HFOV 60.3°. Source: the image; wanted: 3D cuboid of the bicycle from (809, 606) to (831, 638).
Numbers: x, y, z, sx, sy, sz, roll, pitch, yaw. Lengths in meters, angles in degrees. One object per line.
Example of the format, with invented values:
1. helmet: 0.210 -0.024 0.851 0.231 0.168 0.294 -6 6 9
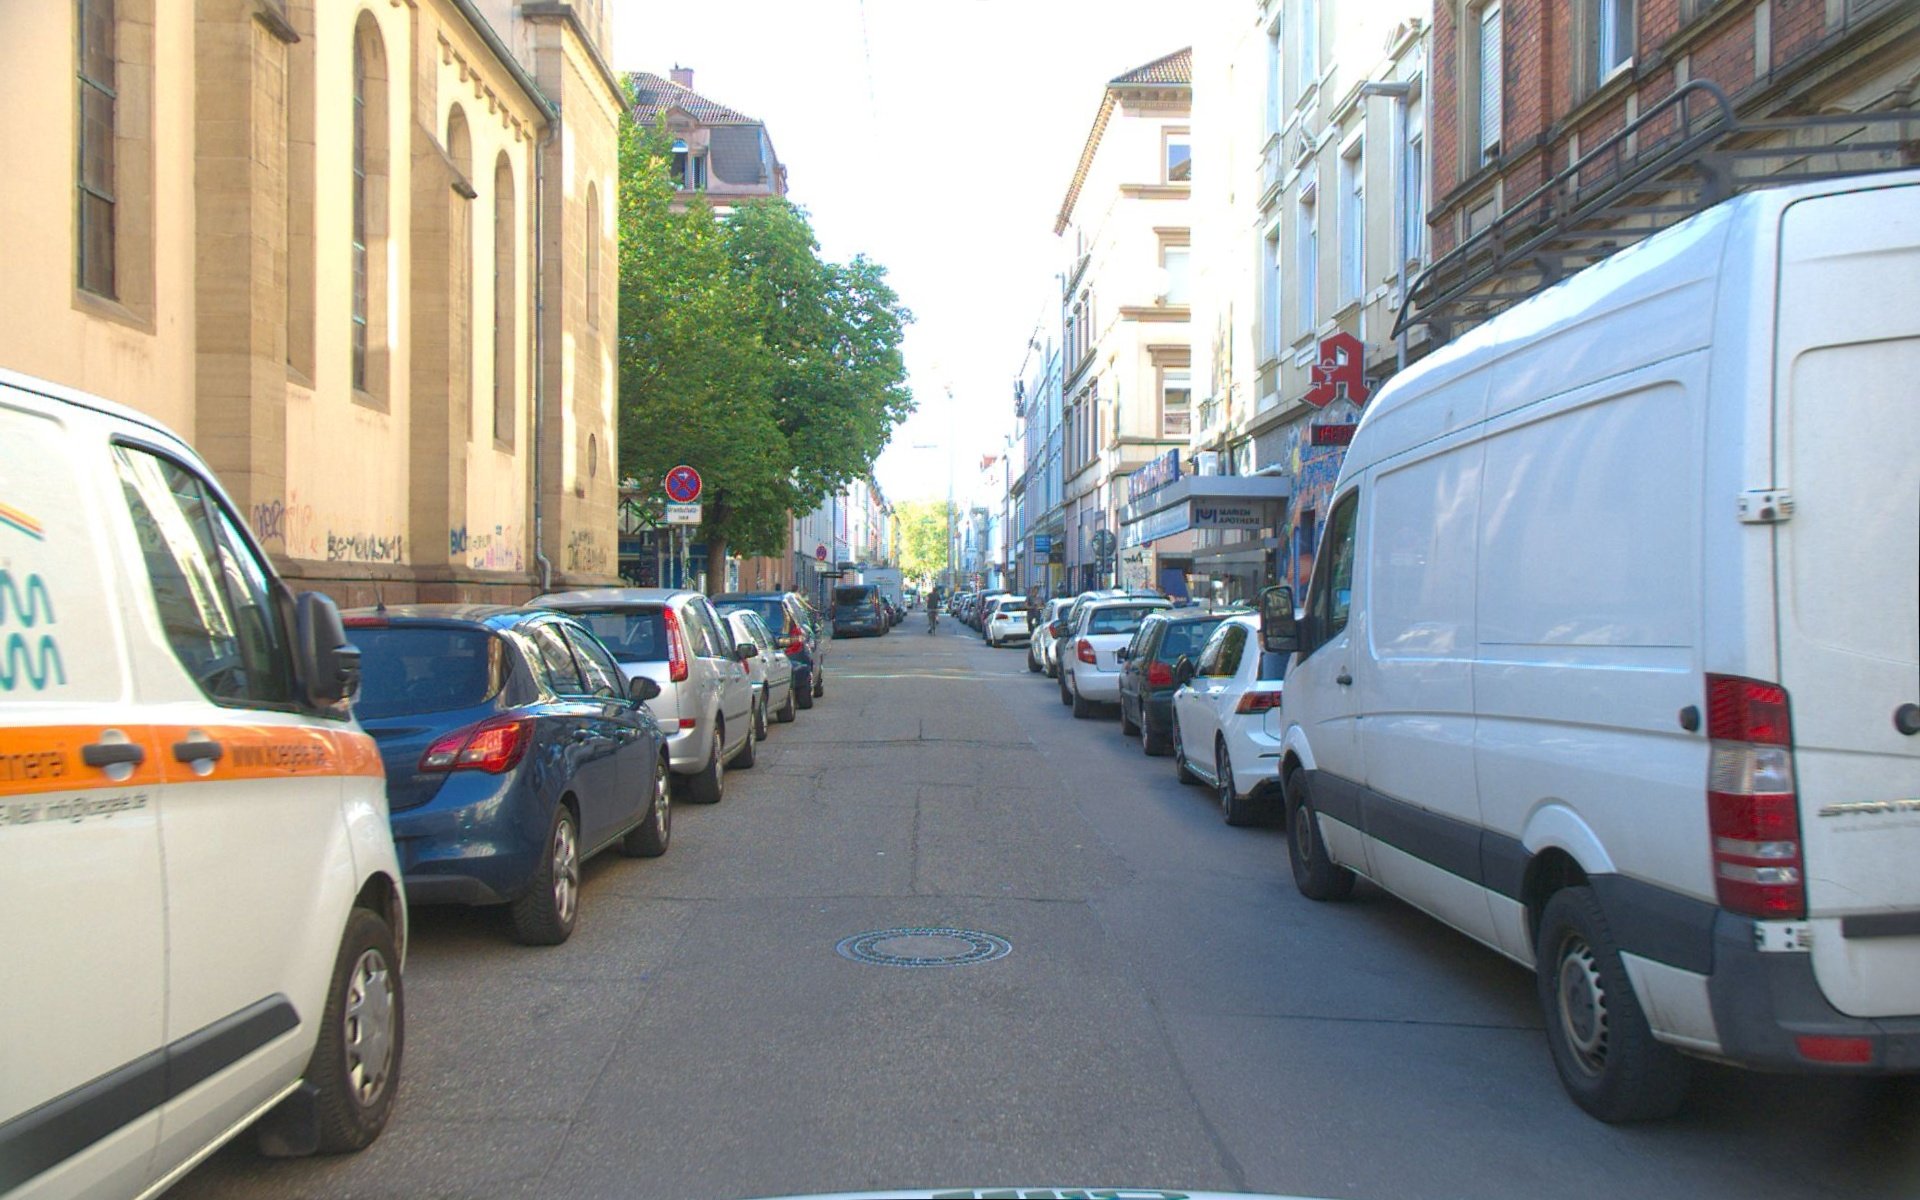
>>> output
1. bicycle: -5.106 0.790 60.153 0.633 1.128 1.600 0 0 -12

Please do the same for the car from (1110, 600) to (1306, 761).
1. car: 2.581 0.782 17.915 1.537 1.521 3.653 2 0 0

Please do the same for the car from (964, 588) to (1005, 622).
1. car: 1.247 0.238 85.241 1.953 1.660 3.999 2 0 -1

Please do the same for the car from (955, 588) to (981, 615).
1. car: 0.594 0.094 127.869 1.953 2.049 3.999 0 0 -1

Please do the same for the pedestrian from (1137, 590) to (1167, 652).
1. pedestrian: 5.250 0.567 45.264 0.539 1.671 0.598 0 0 -41

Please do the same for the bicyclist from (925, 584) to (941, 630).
1. bicyclist: -1.028 0.248 62.281 0.593 1.717 0.885 0 0 -1

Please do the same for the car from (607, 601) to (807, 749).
1. car: -2.789 0.775 18.994 1.538 1.422 3.809 -3 0 1

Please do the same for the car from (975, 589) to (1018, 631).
1. car: 1.571 0.396 71.767 1.733 1.771 3.999 0 0 -1

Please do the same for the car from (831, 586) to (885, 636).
1. car: -3.855 0.393 62.961 1.837 1.828 3.999 0 0 -1

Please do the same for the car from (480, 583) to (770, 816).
1. car: -2.549 0.681 13.477 1.639 1.586 3.999 -1 0 -2

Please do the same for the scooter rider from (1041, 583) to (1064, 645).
1. scooter rider: 2.512 0.375 44.859 0.636 1.671 0.684 0 0 3

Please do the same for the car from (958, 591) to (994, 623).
1. car: 0.901 0.399 96.065 1.953 1.715 3.999 2 0 -1

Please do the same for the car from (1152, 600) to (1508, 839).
1. car: 2.688 0.785 13.042 1.743 1.512 4.359 2 0 -1

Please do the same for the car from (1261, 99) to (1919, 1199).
1. car: 2.825 0.169 6.757 2.026 2.656 5.887 1 0 -1

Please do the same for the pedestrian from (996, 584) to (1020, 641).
1. pedestrian: 1.606 0.408 55.763 0.767 1.875 1.012 1 0 0

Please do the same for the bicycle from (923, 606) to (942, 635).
1. bicycle: -1.028 0.746 62.294 0.724 1.062 1.859 0 0 -1

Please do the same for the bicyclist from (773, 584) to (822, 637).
1. bicyclist: -4.131 0.256 41.934 1.046 1.329 0.751 0 0 -27

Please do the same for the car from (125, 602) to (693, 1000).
1. car: -2.458 0.781 8.412 1.582 1.477 3.949 -2 0 -1

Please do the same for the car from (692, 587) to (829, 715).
1. car: -2.809 0.679 23.942 1.568 1.642 3.807 -2 0 -2

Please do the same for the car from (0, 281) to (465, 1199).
1. car: -2.401 0.521 2.755 1.826 1.991 4.609 -2 0 -2

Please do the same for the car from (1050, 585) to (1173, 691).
1. car: 2.505 0.587 28.180 1.681 1.674 3.999 0 0 -1

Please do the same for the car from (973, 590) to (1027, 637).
1. car: 1.460 0.475 61.412 1.859 1.680 3.999 0 0 -1

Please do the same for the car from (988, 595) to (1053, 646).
1. car: 1.835 0.607 51.203 1.859 1.514 3.869 0 0 -1

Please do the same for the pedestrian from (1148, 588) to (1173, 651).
1. pedestrian: 5.370 0.524 44.246 0.454 1.671 0.495 0 0 -41

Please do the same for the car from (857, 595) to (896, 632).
1. car: -4.241 0.678 84.771 1.837 1.828 3.999 0 0 -1

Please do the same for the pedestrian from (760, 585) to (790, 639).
1. pedestrian: -6.220 0.392 55.521 0.910 1.817 0.806 0 0 0

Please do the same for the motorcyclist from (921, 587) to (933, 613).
1. motorcyclist: -2.591 -0.018 129.824 0.884 2.049 1.190 0 0 -3

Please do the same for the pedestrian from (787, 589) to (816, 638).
1. pedestrian: -5.436 0.450 56.601 0.910 1.666 0.806 0 0 0

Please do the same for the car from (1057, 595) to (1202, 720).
1. car: 2.249 0.722 22.756 1.571 1.531 4.000 1 0 0

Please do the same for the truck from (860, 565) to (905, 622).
1. truck: -4.711 -0.404 101.405 2.480 3.339 6.993 0 0 -1

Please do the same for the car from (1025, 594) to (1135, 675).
1. car: 2.338 0.646 33.031 1.682 1.514 3.866 0 0 -4

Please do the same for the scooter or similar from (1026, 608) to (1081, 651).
1. scooter or similar: 2.542 0.790 44.853 1.497 1.159 0.601 0 0 4

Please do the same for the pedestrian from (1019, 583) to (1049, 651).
1. pedestrian: 2.073 0.467 46.172 0.669 1.875 0.692 1 0 -13

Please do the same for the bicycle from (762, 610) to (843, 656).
1. bicycle: -3.993 0.835 42.009 1.918 1.129 0.761 0 0 -27

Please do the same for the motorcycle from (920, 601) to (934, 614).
1. motorcycle: -2.576 0.586 129.489 1.021 0.997 2.823 0 0 -3
